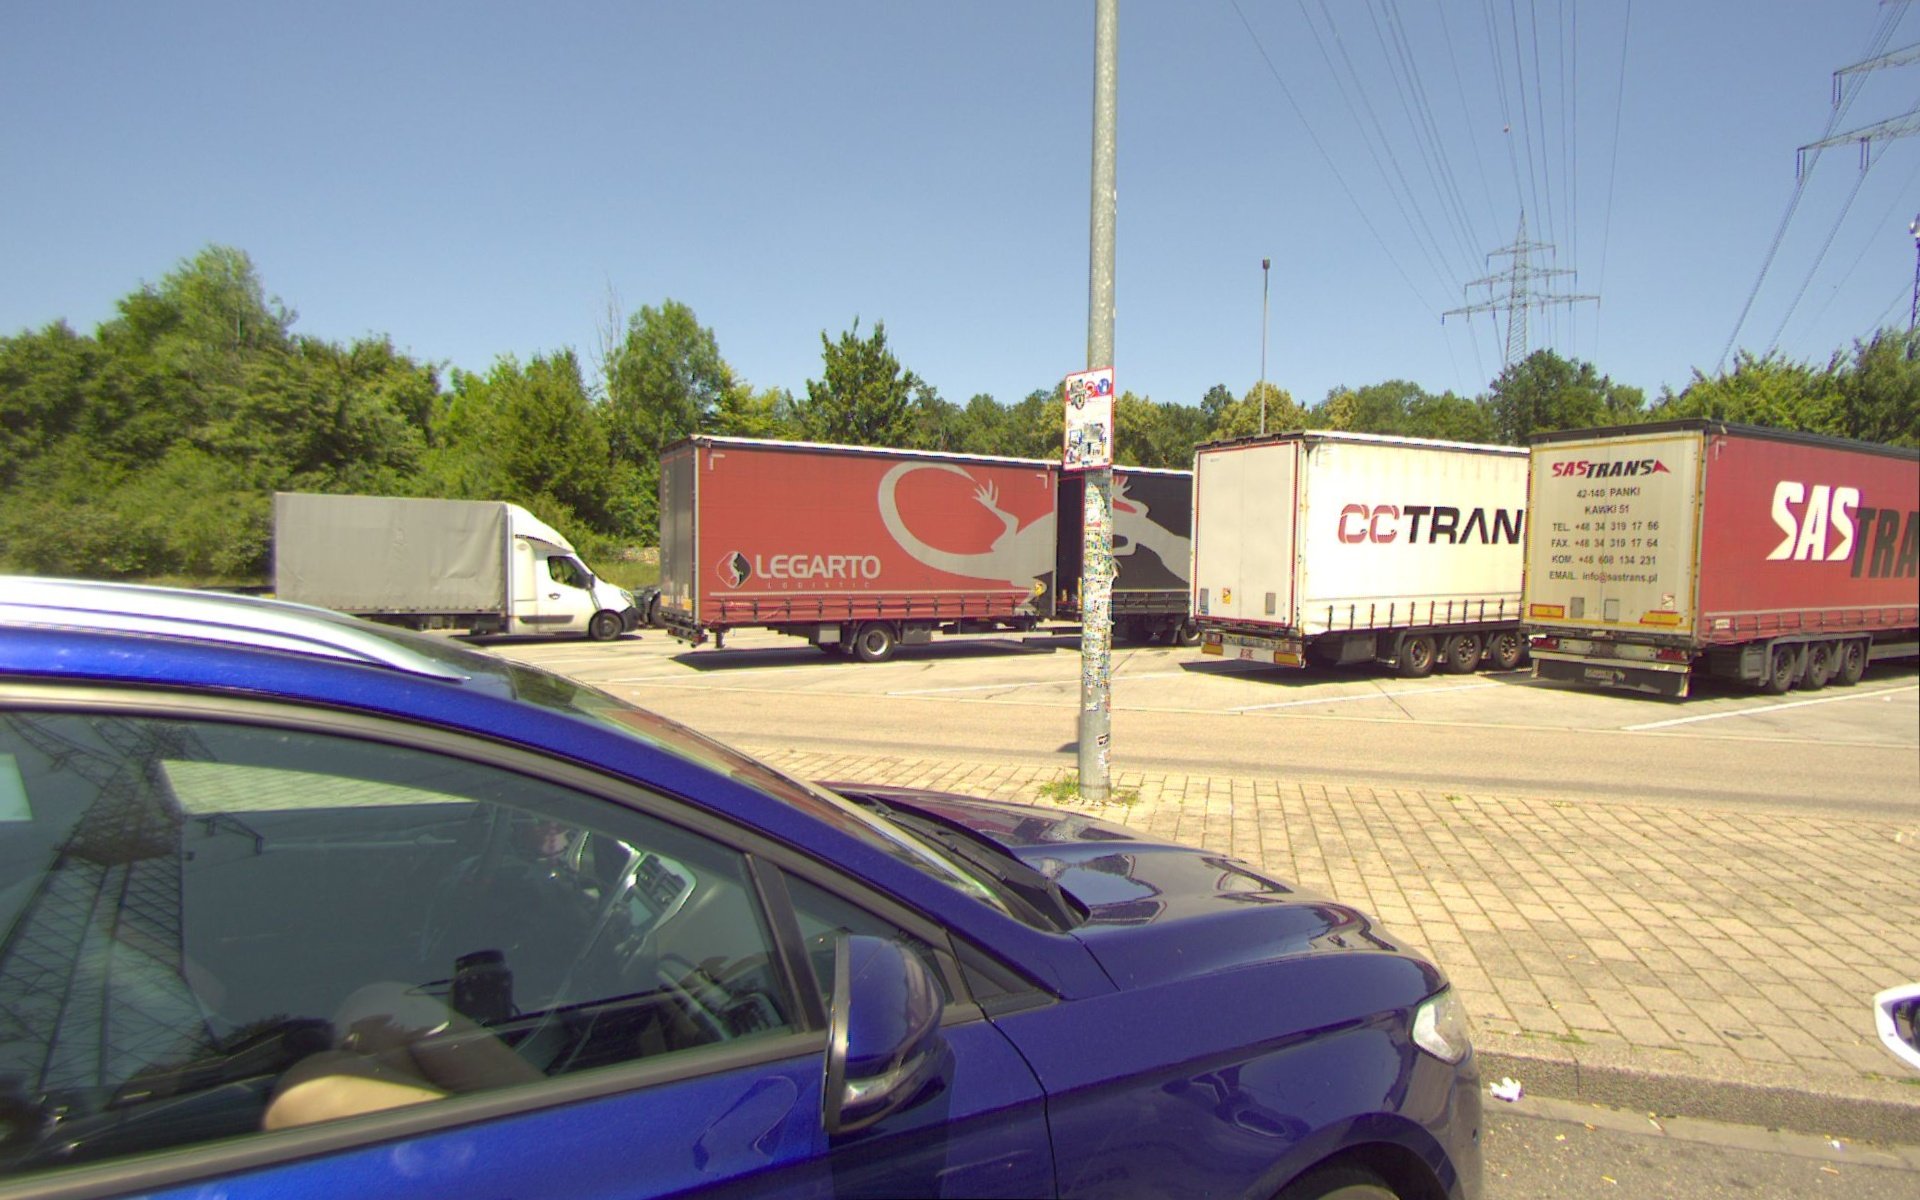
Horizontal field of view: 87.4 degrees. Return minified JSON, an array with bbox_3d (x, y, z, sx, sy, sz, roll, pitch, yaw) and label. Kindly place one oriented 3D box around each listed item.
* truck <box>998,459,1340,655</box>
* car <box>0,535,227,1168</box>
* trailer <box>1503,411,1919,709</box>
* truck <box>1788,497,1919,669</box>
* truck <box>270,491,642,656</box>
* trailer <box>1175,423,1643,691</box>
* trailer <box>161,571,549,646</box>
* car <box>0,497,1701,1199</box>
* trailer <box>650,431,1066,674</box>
[{"bbox_3d":[5.260,-0.992,24.543,8.586,4.127,2.693,-1,3,-30],"label":"truck"},{"bbox_3d":[-4.423,0.581,2.091,4.522,1.526,1.743,0,2,-32],"label":"car"},{"bbox_3d":[15.455,-0.673,18.615,13.599,4.127,2.807,-1,3,-31],"label":"trailer"},{"bbox_3d":[21.247,-0.400,22.052,5.903,3.409,2.798,-1,3,-30],"label":"truck"},{"bbox_3d":[-11.250,-0.615,22.996,7.187,3.289,2.694,-1,3,-29],"label":"truck"},{"bbox_3d":[8.961,-0.766,19.348,10.264,4.158,2.693,-1,3,-30],"label":"trailer"},{"bbox_3d":[-14.762,0.113,25.235,8.007,1.648,2.199,-1,3,-30],"label":"trailer"},{"bbox_3d":[-0.982,0.653,1.454,4.522,1.491,1.743,0,2,-32],"label":"car"},{"bbox_3d":[-1.893,-0.897,20.333,8.007,4.127,2.693,-1,3,-30],"label":"trailer"}]
